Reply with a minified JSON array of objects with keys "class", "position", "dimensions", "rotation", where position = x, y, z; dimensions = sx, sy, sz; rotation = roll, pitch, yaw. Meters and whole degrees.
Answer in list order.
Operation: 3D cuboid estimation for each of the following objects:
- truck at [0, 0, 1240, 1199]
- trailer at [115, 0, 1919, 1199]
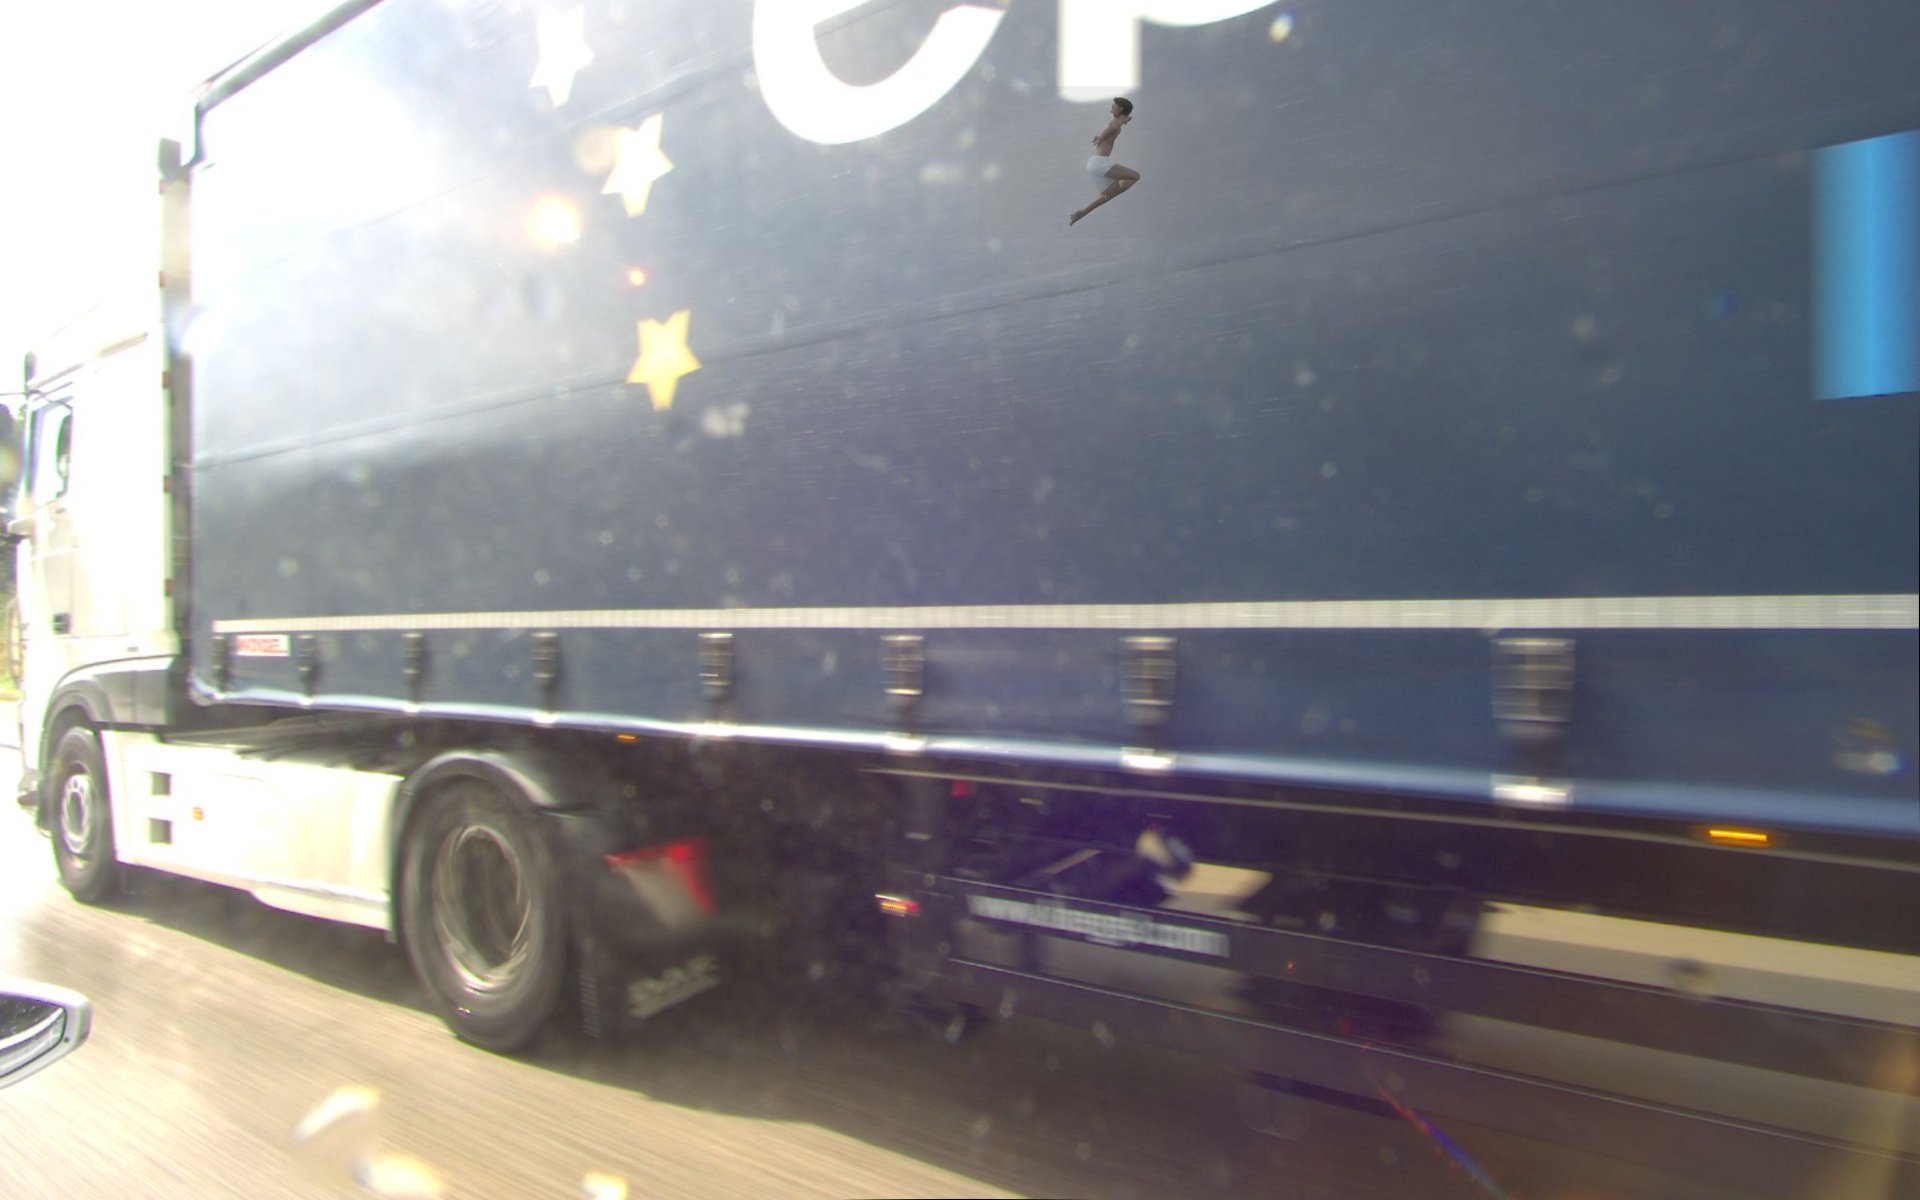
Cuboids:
[{"class":"truck","position":[-2.444,-0.386,5.398],"dimensions":[7.187,4.047,2.602],"rotation":[-1,-2,33]},{"class":"trailer","position":[2.368,-0.519,2.300],"dimensions":[13.866,4.047,2.629],"rotation":[-1,-2,33]}]
